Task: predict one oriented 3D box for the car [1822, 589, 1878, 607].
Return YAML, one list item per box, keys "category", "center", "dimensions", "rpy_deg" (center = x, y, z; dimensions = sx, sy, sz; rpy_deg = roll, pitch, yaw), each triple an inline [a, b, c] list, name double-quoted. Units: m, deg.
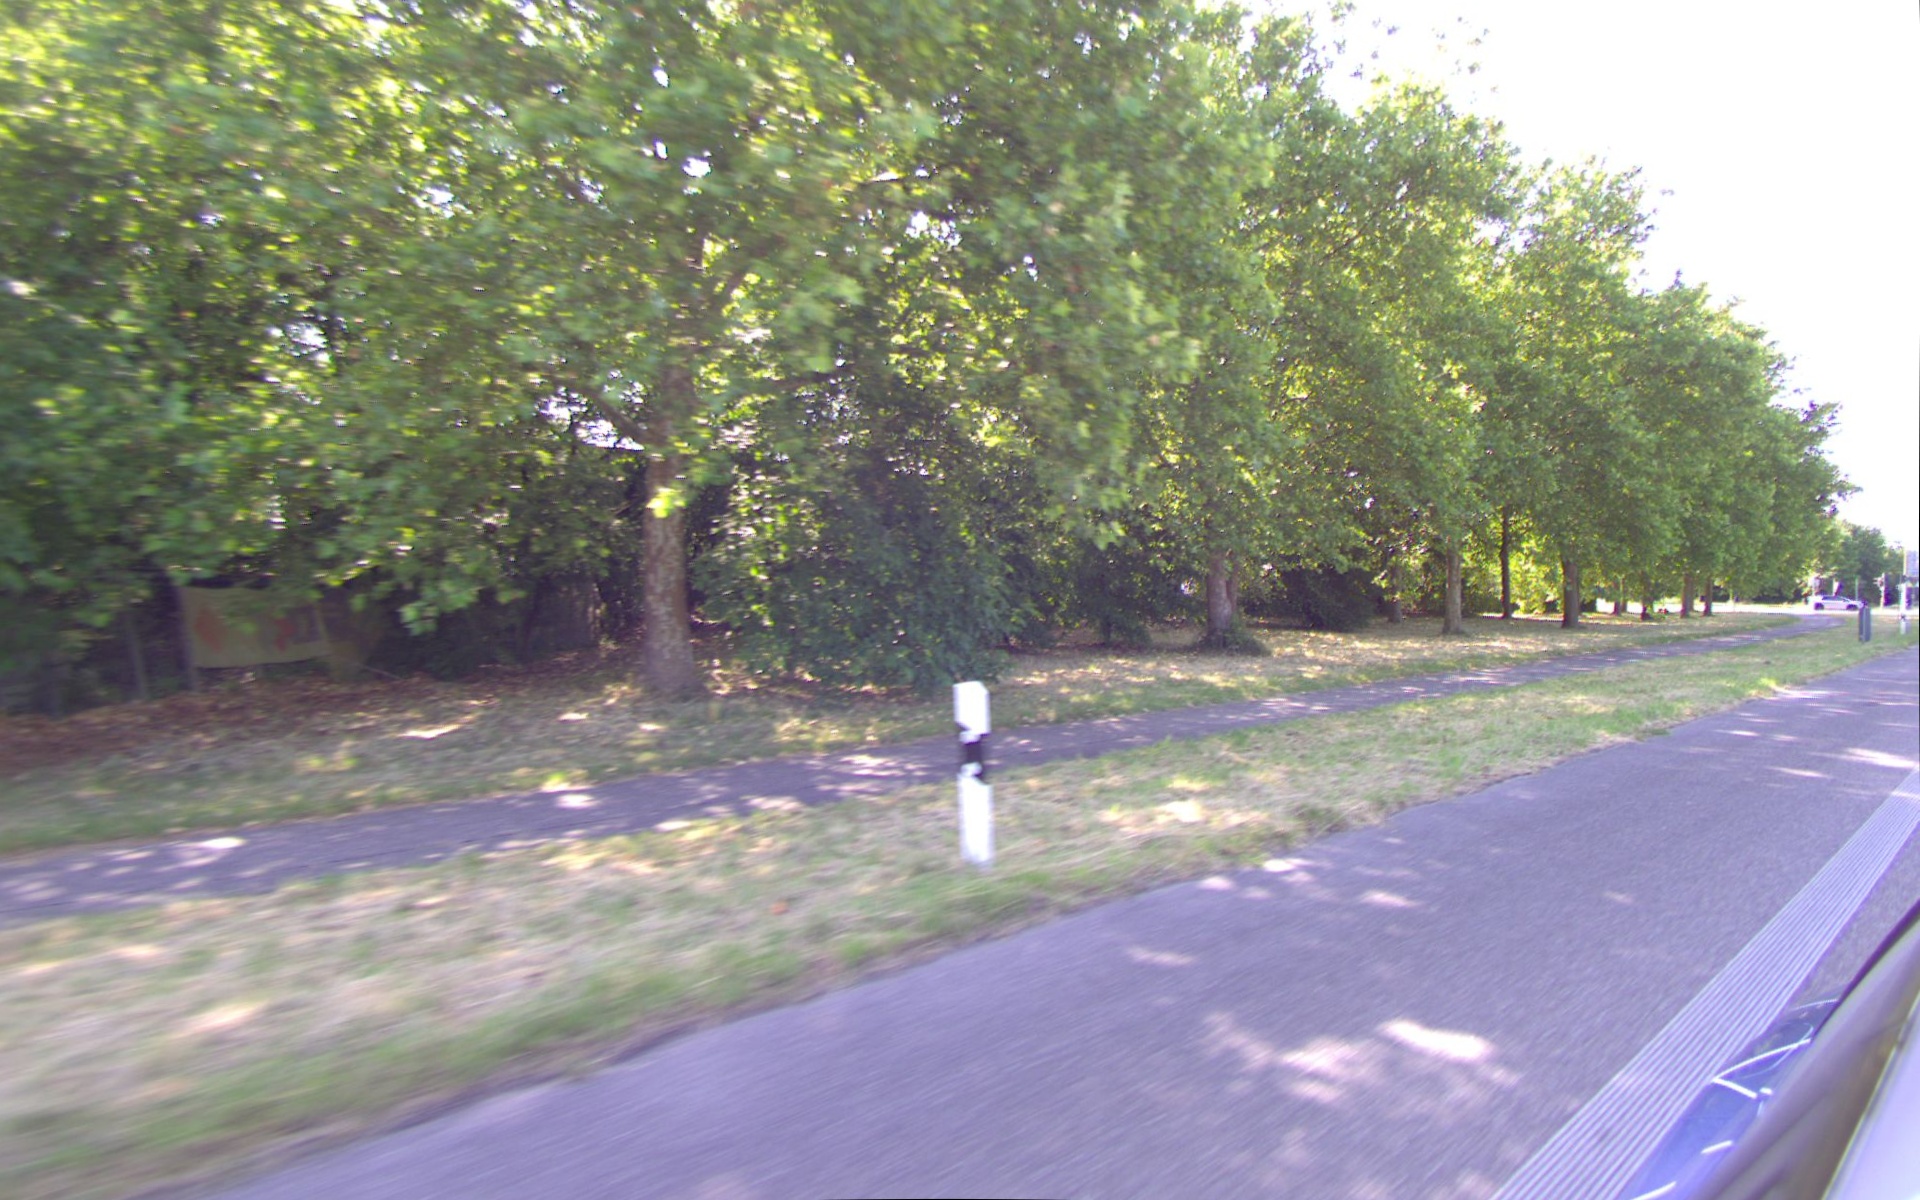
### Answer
- category: "car"
  center: [88.344, -0.228, 100.491]
  dimensions: [4.053, 1.583, 1.715]
  rpy_deg: [2, 2, 45]
